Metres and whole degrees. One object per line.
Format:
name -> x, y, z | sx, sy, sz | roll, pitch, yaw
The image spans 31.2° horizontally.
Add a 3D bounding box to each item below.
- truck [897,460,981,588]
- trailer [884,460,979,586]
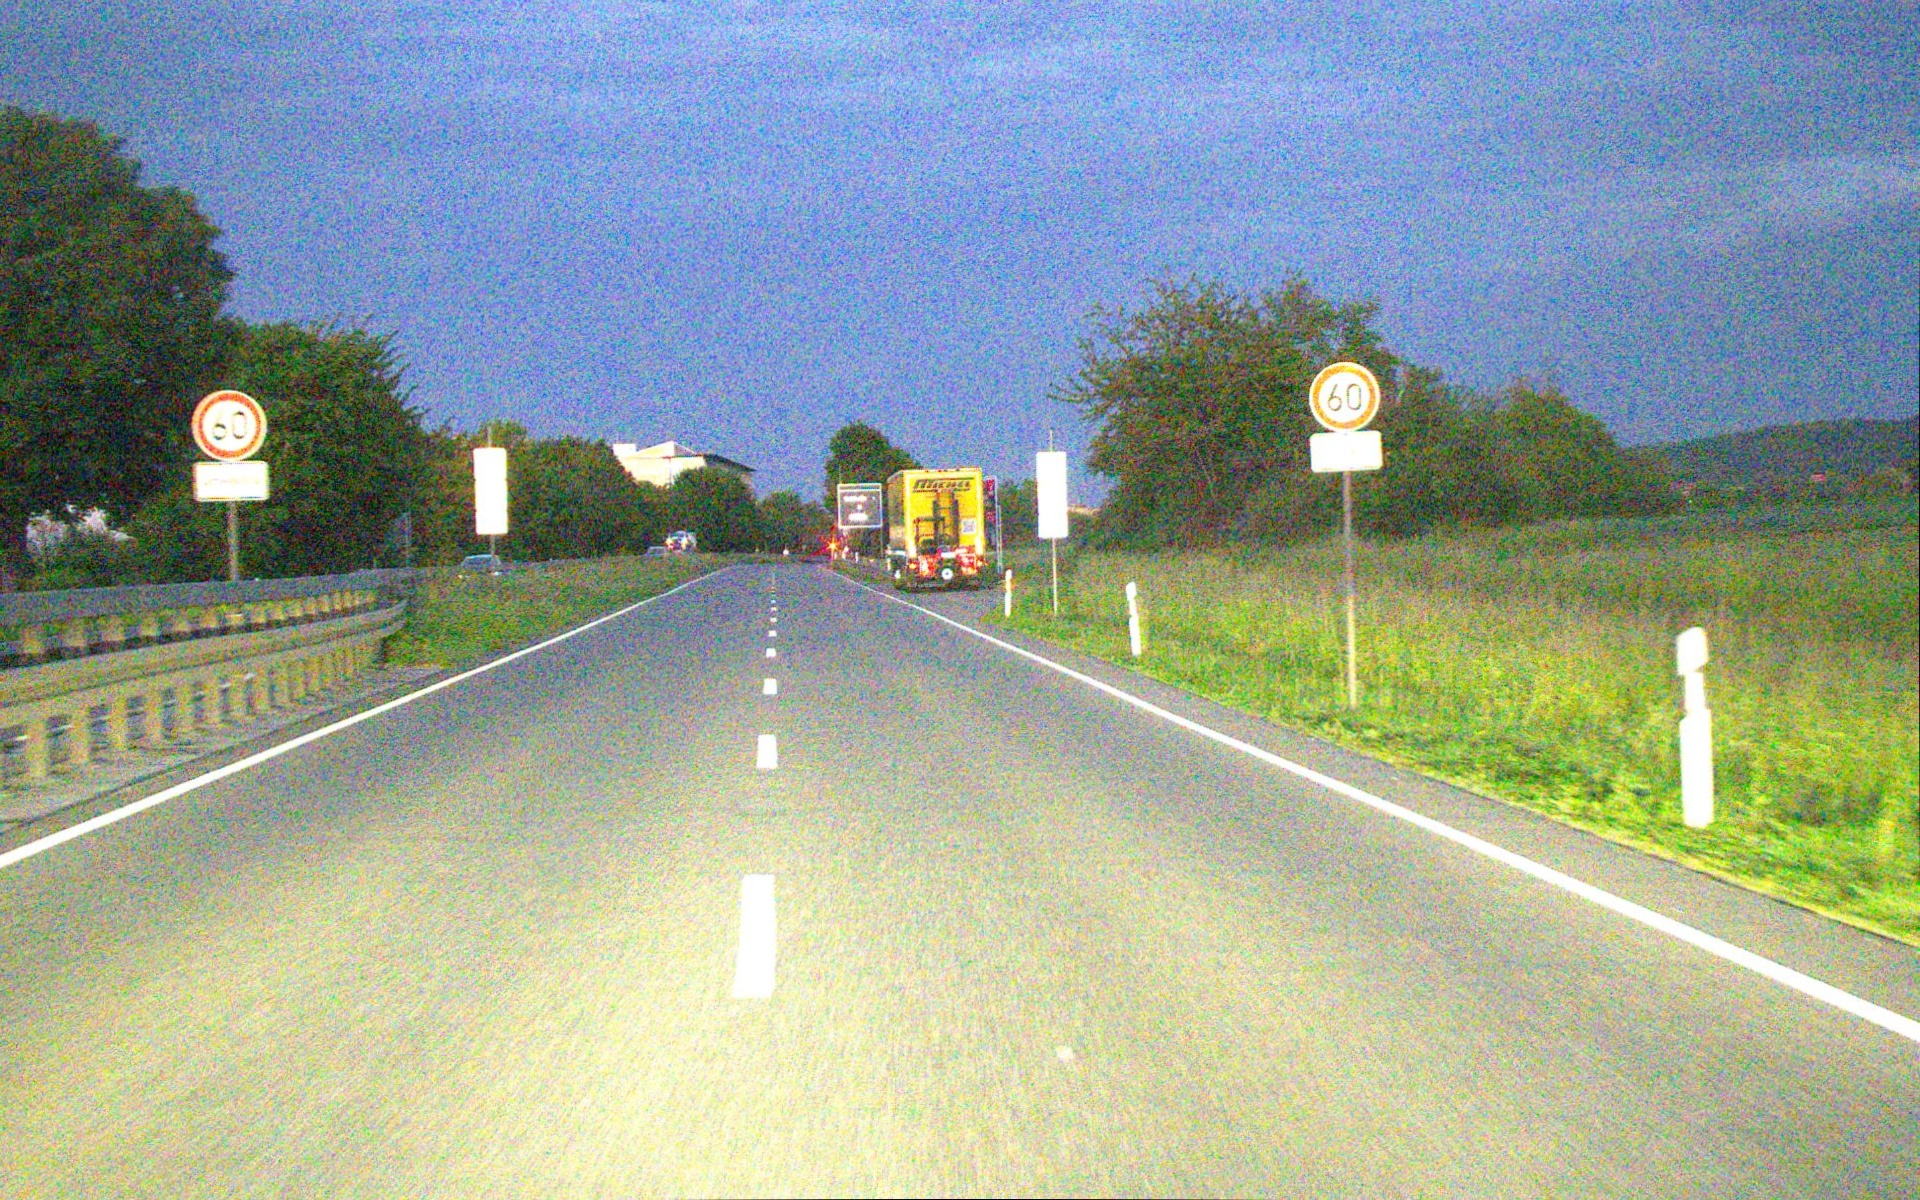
truck -> -0.725, -2.509, 112.683 | 2.579, 4.057, 6.130 | 0, 2, -2
trailer -> -1.081, -2.655, 119.597 | 2.622, 4.090, 12.939 | -1, 1, -3
